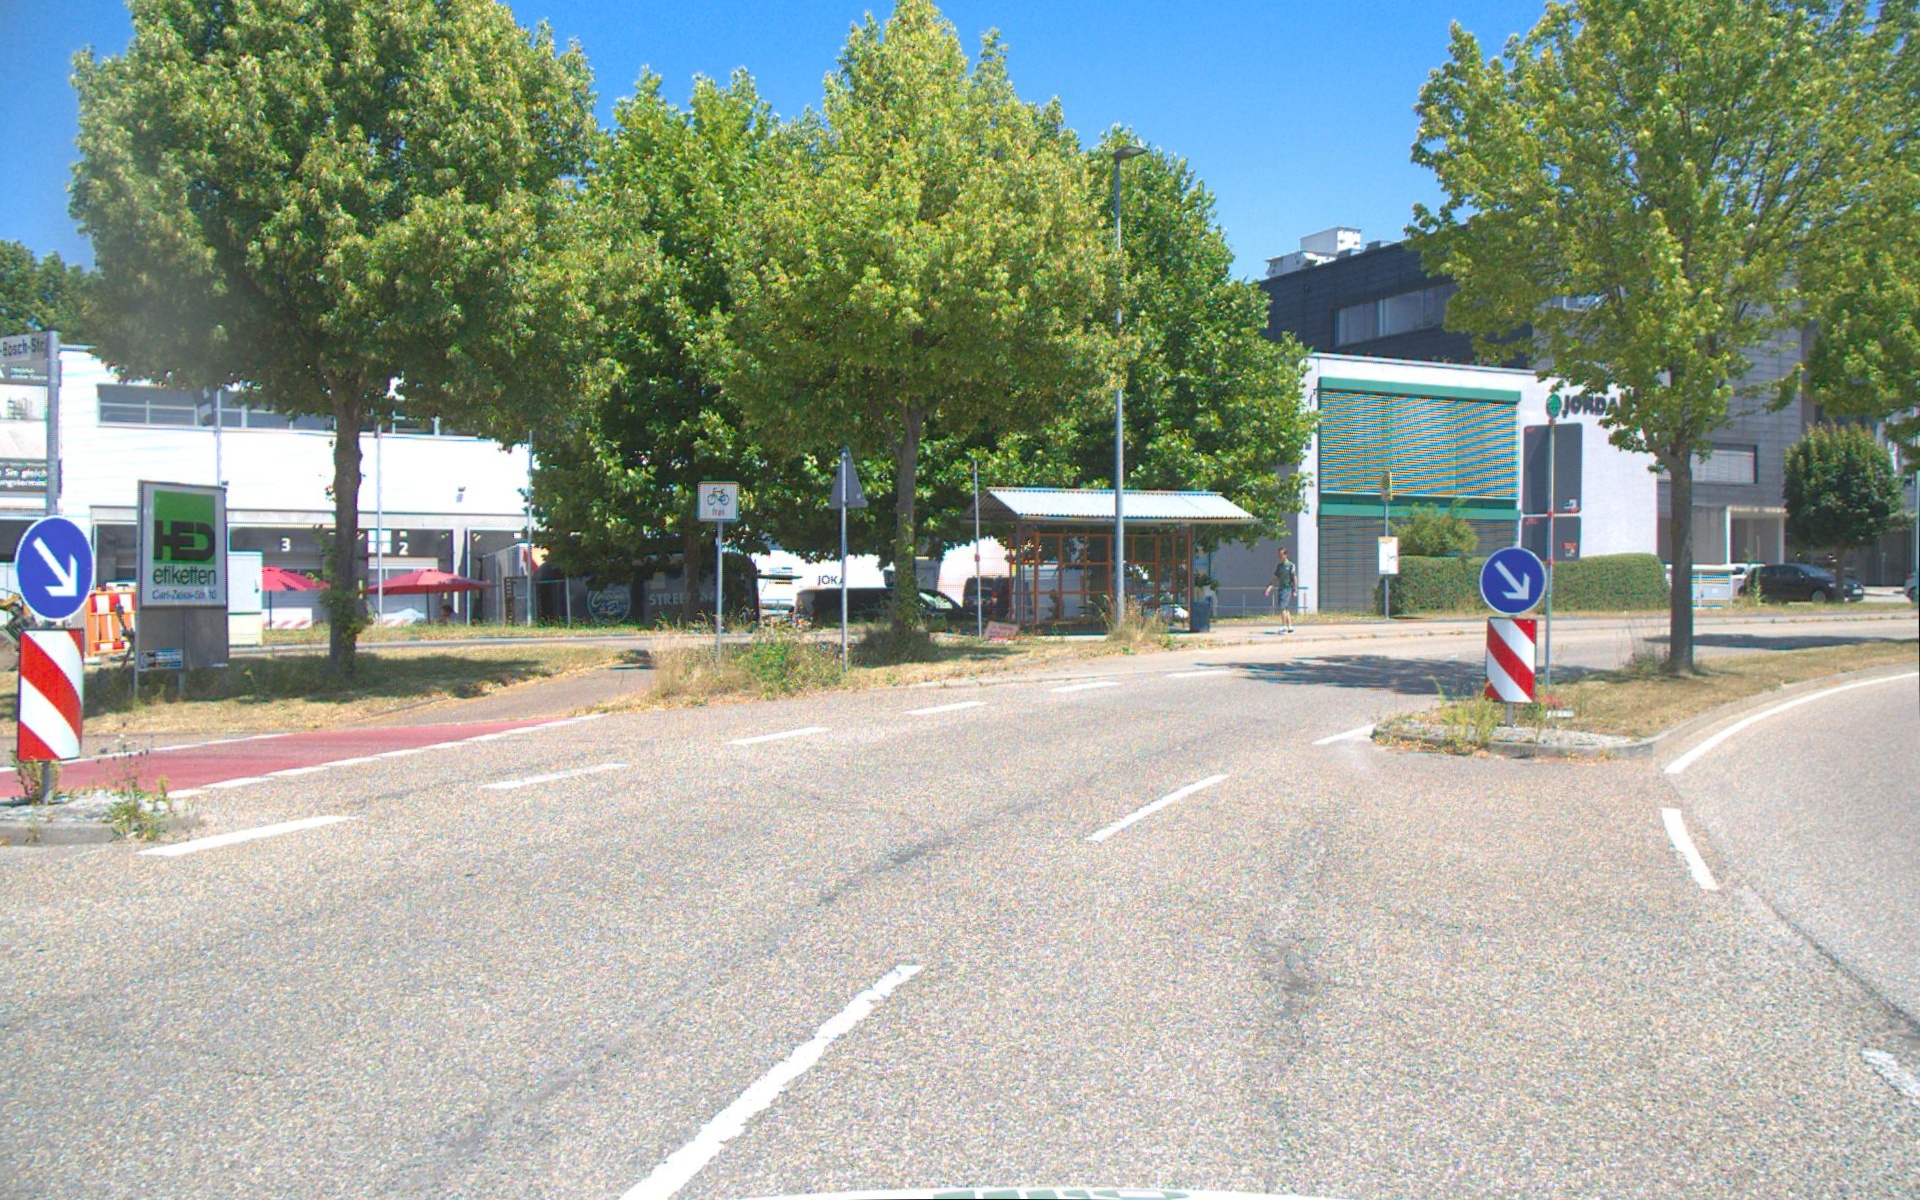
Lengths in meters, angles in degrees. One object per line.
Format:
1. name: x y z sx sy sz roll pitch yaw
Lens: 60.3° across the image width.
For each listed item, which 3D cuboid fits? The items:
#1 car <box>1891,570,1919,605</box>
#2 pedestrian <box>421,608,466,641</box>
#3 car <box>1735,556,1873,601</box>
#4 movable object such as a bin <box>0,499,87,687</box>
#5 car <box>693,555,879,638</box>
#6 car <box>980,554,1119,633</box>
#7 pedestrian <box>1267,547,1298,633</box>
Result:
1. car: 36.487 -0.492 60.402 1.471 1.203 4.239 2 -2 -27
2. pedestrian: -11.502 0.545 36.827 0.846 0.707 0.407 -2 0 -3
3. car: 28.300 -0.695 55.558 1.680 1.403 3.884 -2 0 -27
4. movable object such as a bin: -16.171 0.052 23.345 6.465 2.626 1.987 -3 0 -22
5. car: -4.063 -0.096 38.635 3.936 1.758 1.826 -2 0 -25
6. car: 2.431 -0.132 45.852 1.532 2.049 4.209 2 -2 -36
7. pedestrian: 6.455 -0.189 33.132 0.518 1.699 0.579 1 -2 1
